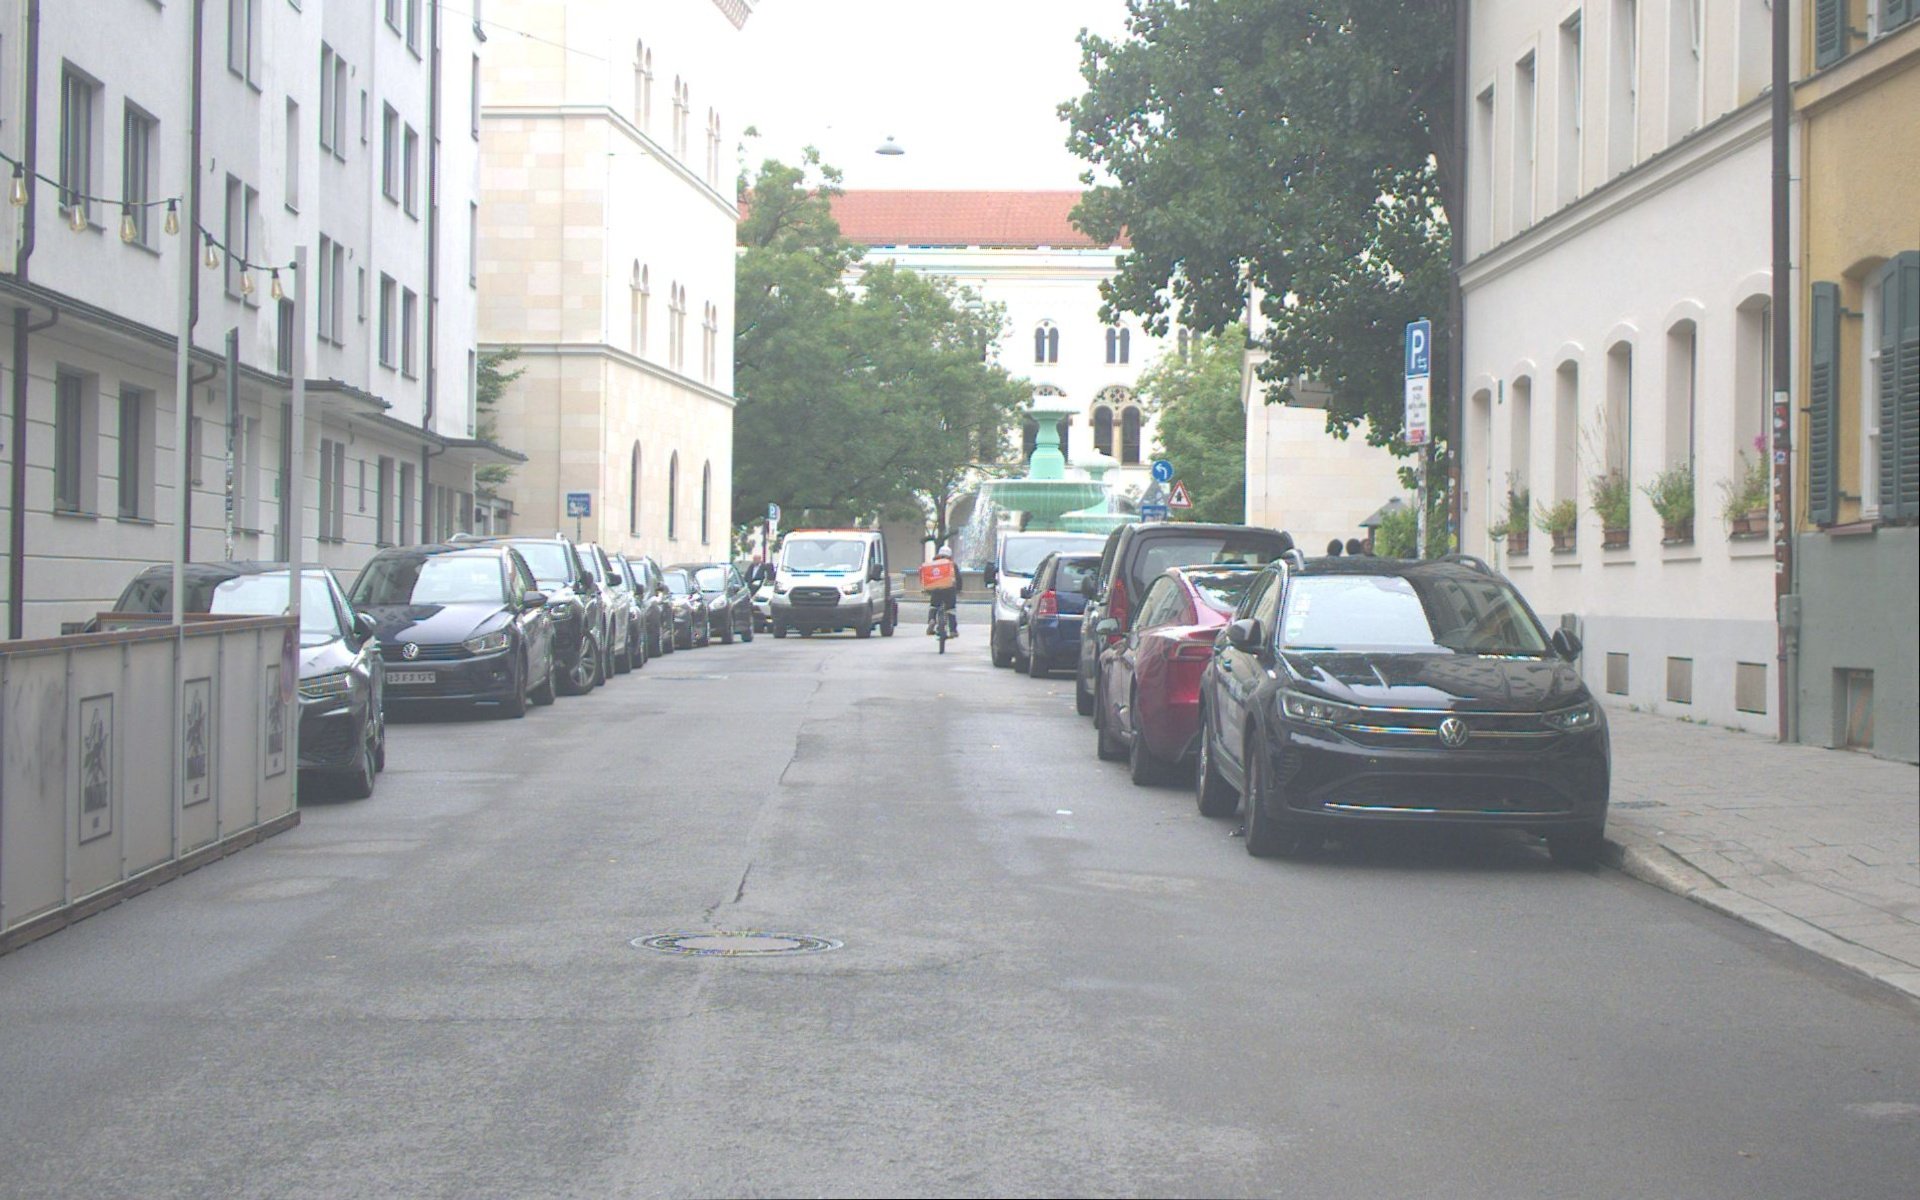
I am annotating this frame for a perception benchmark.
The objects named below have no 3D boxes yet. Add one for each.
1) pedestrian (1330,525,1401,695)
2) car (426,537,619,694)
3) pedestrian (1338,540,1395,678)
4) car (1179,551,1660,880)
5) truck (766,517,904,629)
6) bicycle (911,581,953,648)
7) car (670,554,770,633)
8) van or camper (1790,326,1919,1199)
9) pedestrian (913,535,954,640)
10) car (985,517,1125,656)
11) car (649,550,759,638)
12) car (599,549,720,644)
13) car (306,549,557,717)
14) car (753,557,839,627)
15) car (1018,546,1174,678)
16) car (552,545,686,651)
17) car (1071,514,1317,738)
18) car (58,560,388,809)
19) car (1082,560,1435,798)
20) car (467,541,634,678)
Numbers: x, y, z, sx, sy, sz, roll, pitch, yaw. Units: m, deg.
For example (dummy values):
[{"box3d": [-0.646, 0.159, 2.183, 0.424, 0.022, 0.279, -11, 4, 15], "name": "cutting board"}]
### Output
[{"box3d": [4.824, 0.122, 40.928, 0.669, 1.974, 0.708, -2, -1, 0], "name": "pedestrian"}, {"box3d": [-4.669, 0.140, 37.115, 1.706, 1.604, 3.863, 0, 1, -2], "name": "car"}, {"box3d": [5.951, 0.131, 50.350, 0.669, 1.974, 0.708, -2, -1, 0], "name": "pedestrian"}, {"box3d": [2.258, 0.515, 18.009, 1.811, 1.459, 4.247, 2, 0, -1], "name": "car"}, {"box3d": [-2.564, -0.534, 72.014, 2.121, 2.240, 6.184, 1, 0, 5], "name": "truck"}, {"box3d": [-0.455, 0.242, 56.785, 0.675, 1.091, 1.760, 1, 0, 0], "name": "bicycle"}, {"box3d": [-4.933, -0.149, 71.052, 1.706, 1.576, 3.863, 0, 1, 2], "name": "car"}, {"box3d": [2.456, 0.541, 3.644, 1.833, 1.865, 5.079, 1, 1, -1], "name": "van or camper"}, {"box3d": [-0.435, -0.201, 56.754, 0.642, 1.708, 0.843, 1, -1, 0], "name": "pedestrian"}, {"box3d": [1.342, -0.211, 50.296, 1.852, 1.913, 4.769, 1, 0, 0], "name": "car"}, {"box3d": [-4.811, -0.132, 64.971, 1.706, 1.604, 3.863, 0, 1, 1], "name": "car"}, {"box3d": [-5.205, -0.081, 59.976, 1.706, 1.604, 3.863, 0, 1, 1], "name": "car"}, {"box3d": [-4.752, 0.262, 31.375, 1.817, 1.439, 3.819, 0, 1, -2], "name": "car"}, {"box3d": [-3.766, -0.203, 79.643, 1.706, 1.576, 3.863, 0, 1, 2], "name": "car"}, {"box3d": [1.715, 0.128, 44.530, 1.811, 1.609, 4.156, 1, 0, 0], "name": "car"}, {"box3d": [-5.362, -0.050, 54.417, 1.706, 1.604, 3.863, 0, 1, 1], "name": "car"}, {"box3d": [2.008, 0.197, 30.639, 1.812, 1.791, 4.247, 2, 0, 0], "name": "car"}, {"box3d": [-4.536, 0.457, 21.644, 1.761, 1.406, 4.157, 0, 1, -8], "name": "car"}, {"box3d": [1.933, 0.473, 23.512, 1.811, 1.420, 4.247, 2, 0, -3], "name": "car"}, {"box3d": [-5.007, 0.088, 42.422, 1.706, 1.604, 3.863, 0, 1, -2], "name": "car"}]
